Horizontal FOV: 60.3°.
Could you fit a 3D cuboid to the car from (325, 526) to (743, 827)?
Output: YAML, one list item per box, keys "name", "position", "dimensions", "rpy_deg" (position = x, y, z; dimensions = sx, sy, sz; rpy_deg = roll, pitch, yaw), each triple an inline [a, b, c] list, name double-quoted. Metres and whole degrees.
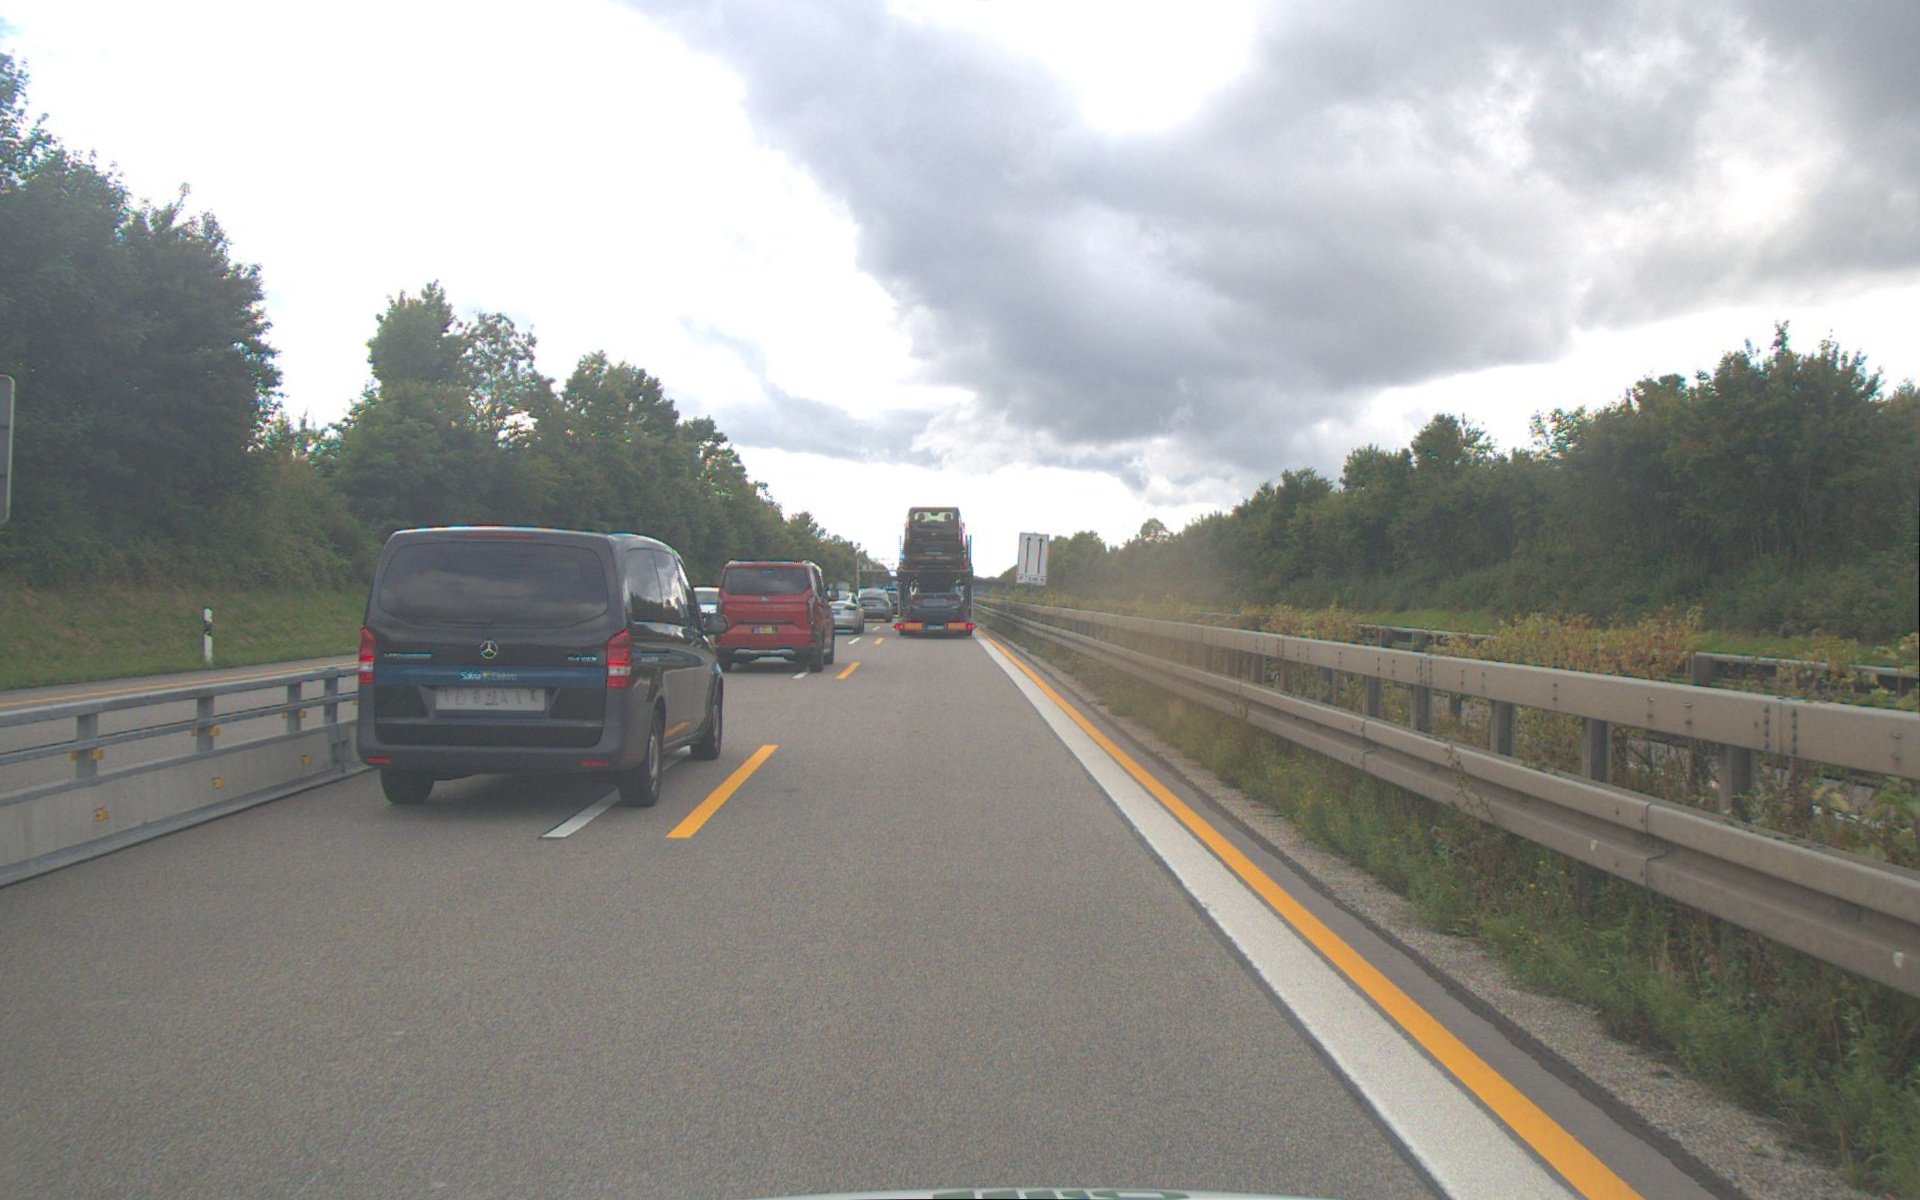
- name: "car"
  position: [-3.027, 0.468, 13.143]
  dimensions: [1.953, 1.875, 5.608]
  rpy_deg: [0, 0, -1]

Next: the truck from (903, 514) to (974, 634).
- name: "truck"
  position: [-0.782, -0.917, 60.878]
  dimensions: [2.464, 4.177, 5.684]
  rpy_deg: [1, 0, 0]

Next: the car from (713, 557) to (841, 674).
- name: "car"
  position: [-3.381, 0.271, 31.385]
  dimensions: [1.990, 2.049, 4.577]
  rpy_deg: [0, 0, -1]

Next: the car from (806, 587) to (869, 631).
- name: "car"
  position: [-4.215, 0.301, 57.490]
  dimensions: [1.990, 1.456, 4.576]
  rpy_deg: [0, 0, -2]

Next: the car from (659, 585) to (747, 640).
- name: "car"
  position: [-7.503, 0.338, 48.758]
  dimensions: [1.953, 1.547, 4.668]
  rpy_deg: [0, 0, -1]

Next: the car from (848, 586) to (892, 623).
- name: "car"
  position: [-4.368, 0.211, 80.740]
  dimensions: [1.990, 1.788, 4.576]
  rpy_deg: [0, 0, -2]

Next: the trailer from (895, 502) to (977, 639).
- name: "trailer"
  position: [-0.761, -0.911, 56.133]
  dimensions: [2.464, 4.177, 11.112]
  rpy_deg: [1, 0, 0]

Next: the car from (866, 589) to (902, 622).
- name: "car"
  position: [-4.233, 0.278, 92.764]
  dimensions: [1.990, 1.788, 4.576]
  rpy_deg: [0, 0, -2]
